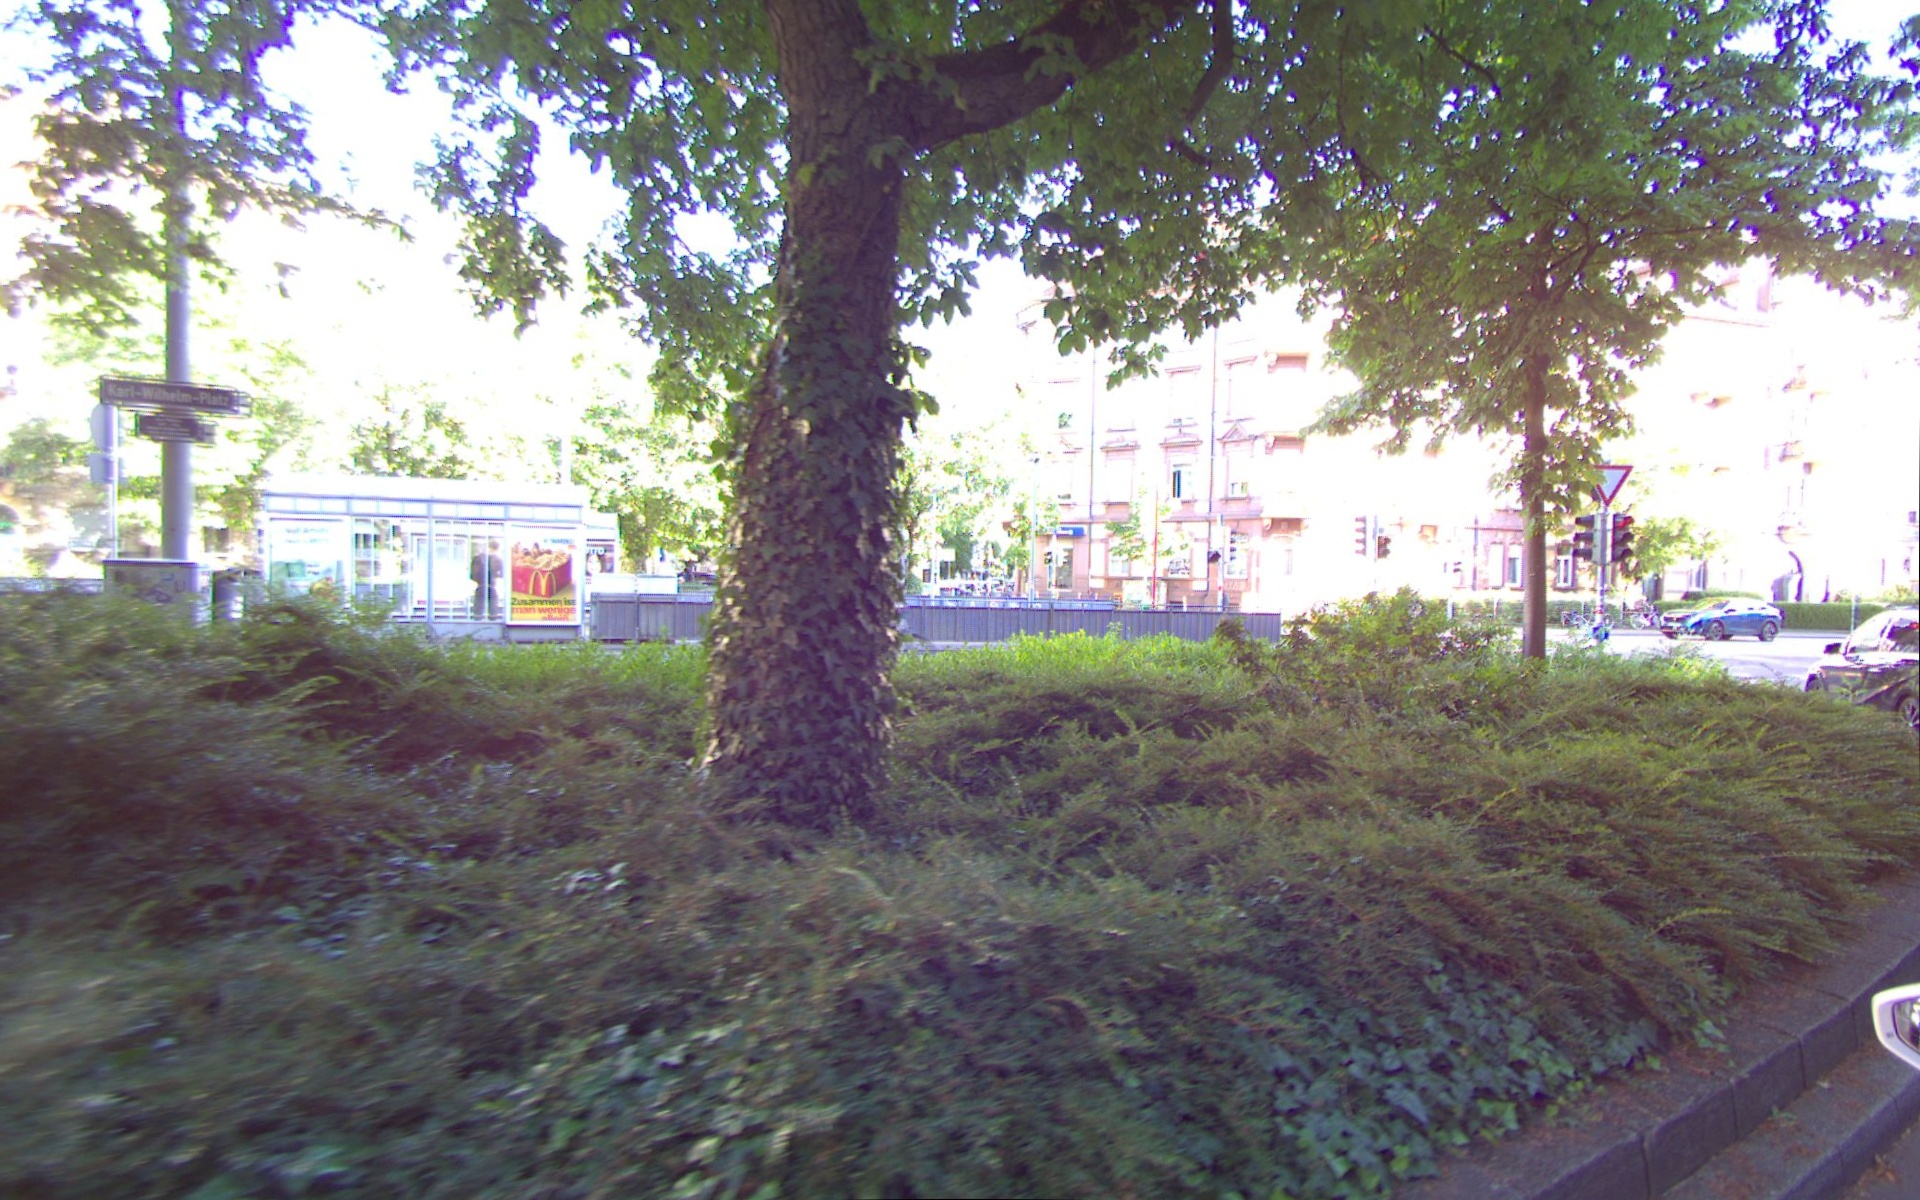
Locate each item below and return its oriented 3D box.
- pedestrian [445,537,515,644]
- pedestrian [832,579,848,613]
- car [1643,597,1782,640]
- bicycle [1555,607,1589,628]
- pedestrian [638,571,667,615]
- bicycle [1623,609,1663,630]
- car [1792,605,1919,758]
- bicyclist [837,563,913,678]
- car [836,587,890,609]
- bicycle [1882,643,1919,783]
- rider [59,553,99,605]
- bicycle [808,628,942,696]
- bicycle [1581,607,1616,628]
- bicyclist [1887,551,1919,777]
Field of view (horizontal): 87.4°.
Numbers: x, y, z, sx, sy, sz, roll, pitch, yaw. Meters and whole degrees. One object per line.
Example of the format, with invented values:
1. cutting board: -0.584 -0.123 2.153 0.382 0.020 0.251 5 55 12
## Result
1. pedestrian: -8.953 -0.181 18.774 1.003 1.923 0.909 1 1 -15
2. pedestrian: -7.373 -0.249 61.655 0.790 2.041 0.568 0 2 -31
3. car: 29.228 0.713 39.050 4.299 1.516 1.995 1 1 -13
4. bicycle: 27.008 0.759 44.318 1.199 0.873 0.450 2 1 2
5. pedestrian: -11.409 -0.276 37.300 0.797 1.564 0.820 3 1 -5
6. bicycle: 30.539 0.854 44.929 1.418 0.873 0.450 2 1 2
7. car: 11.309 0.839 11.465 1.784 1.564 3.956 0 0 24
8. bicyclist: -1.329 0.312 15.634 1.030 1.739 0.694 1 1 -16
9. car: -7.707 -0.196 79.663 3.934 1.629 1.760 1 1 -16
10. bicycle: 8.666 1.011 8.648 0.589 1.177 2.037 2 1 30
11. rider: -30.141 -0.716 34.362 0.805 1.704 0.671 4 2 17
12. bicycle: -1.317 0.947 15.547 1.949 0.971 0.768 1 1 -16
13. bicycle: 28.192 0.754 44.362 1.199 0.873 0.450 2 1 2
14. bicyclist: 8.627 0.550 8.492 0.838 1.924 1.138 2 1 28
